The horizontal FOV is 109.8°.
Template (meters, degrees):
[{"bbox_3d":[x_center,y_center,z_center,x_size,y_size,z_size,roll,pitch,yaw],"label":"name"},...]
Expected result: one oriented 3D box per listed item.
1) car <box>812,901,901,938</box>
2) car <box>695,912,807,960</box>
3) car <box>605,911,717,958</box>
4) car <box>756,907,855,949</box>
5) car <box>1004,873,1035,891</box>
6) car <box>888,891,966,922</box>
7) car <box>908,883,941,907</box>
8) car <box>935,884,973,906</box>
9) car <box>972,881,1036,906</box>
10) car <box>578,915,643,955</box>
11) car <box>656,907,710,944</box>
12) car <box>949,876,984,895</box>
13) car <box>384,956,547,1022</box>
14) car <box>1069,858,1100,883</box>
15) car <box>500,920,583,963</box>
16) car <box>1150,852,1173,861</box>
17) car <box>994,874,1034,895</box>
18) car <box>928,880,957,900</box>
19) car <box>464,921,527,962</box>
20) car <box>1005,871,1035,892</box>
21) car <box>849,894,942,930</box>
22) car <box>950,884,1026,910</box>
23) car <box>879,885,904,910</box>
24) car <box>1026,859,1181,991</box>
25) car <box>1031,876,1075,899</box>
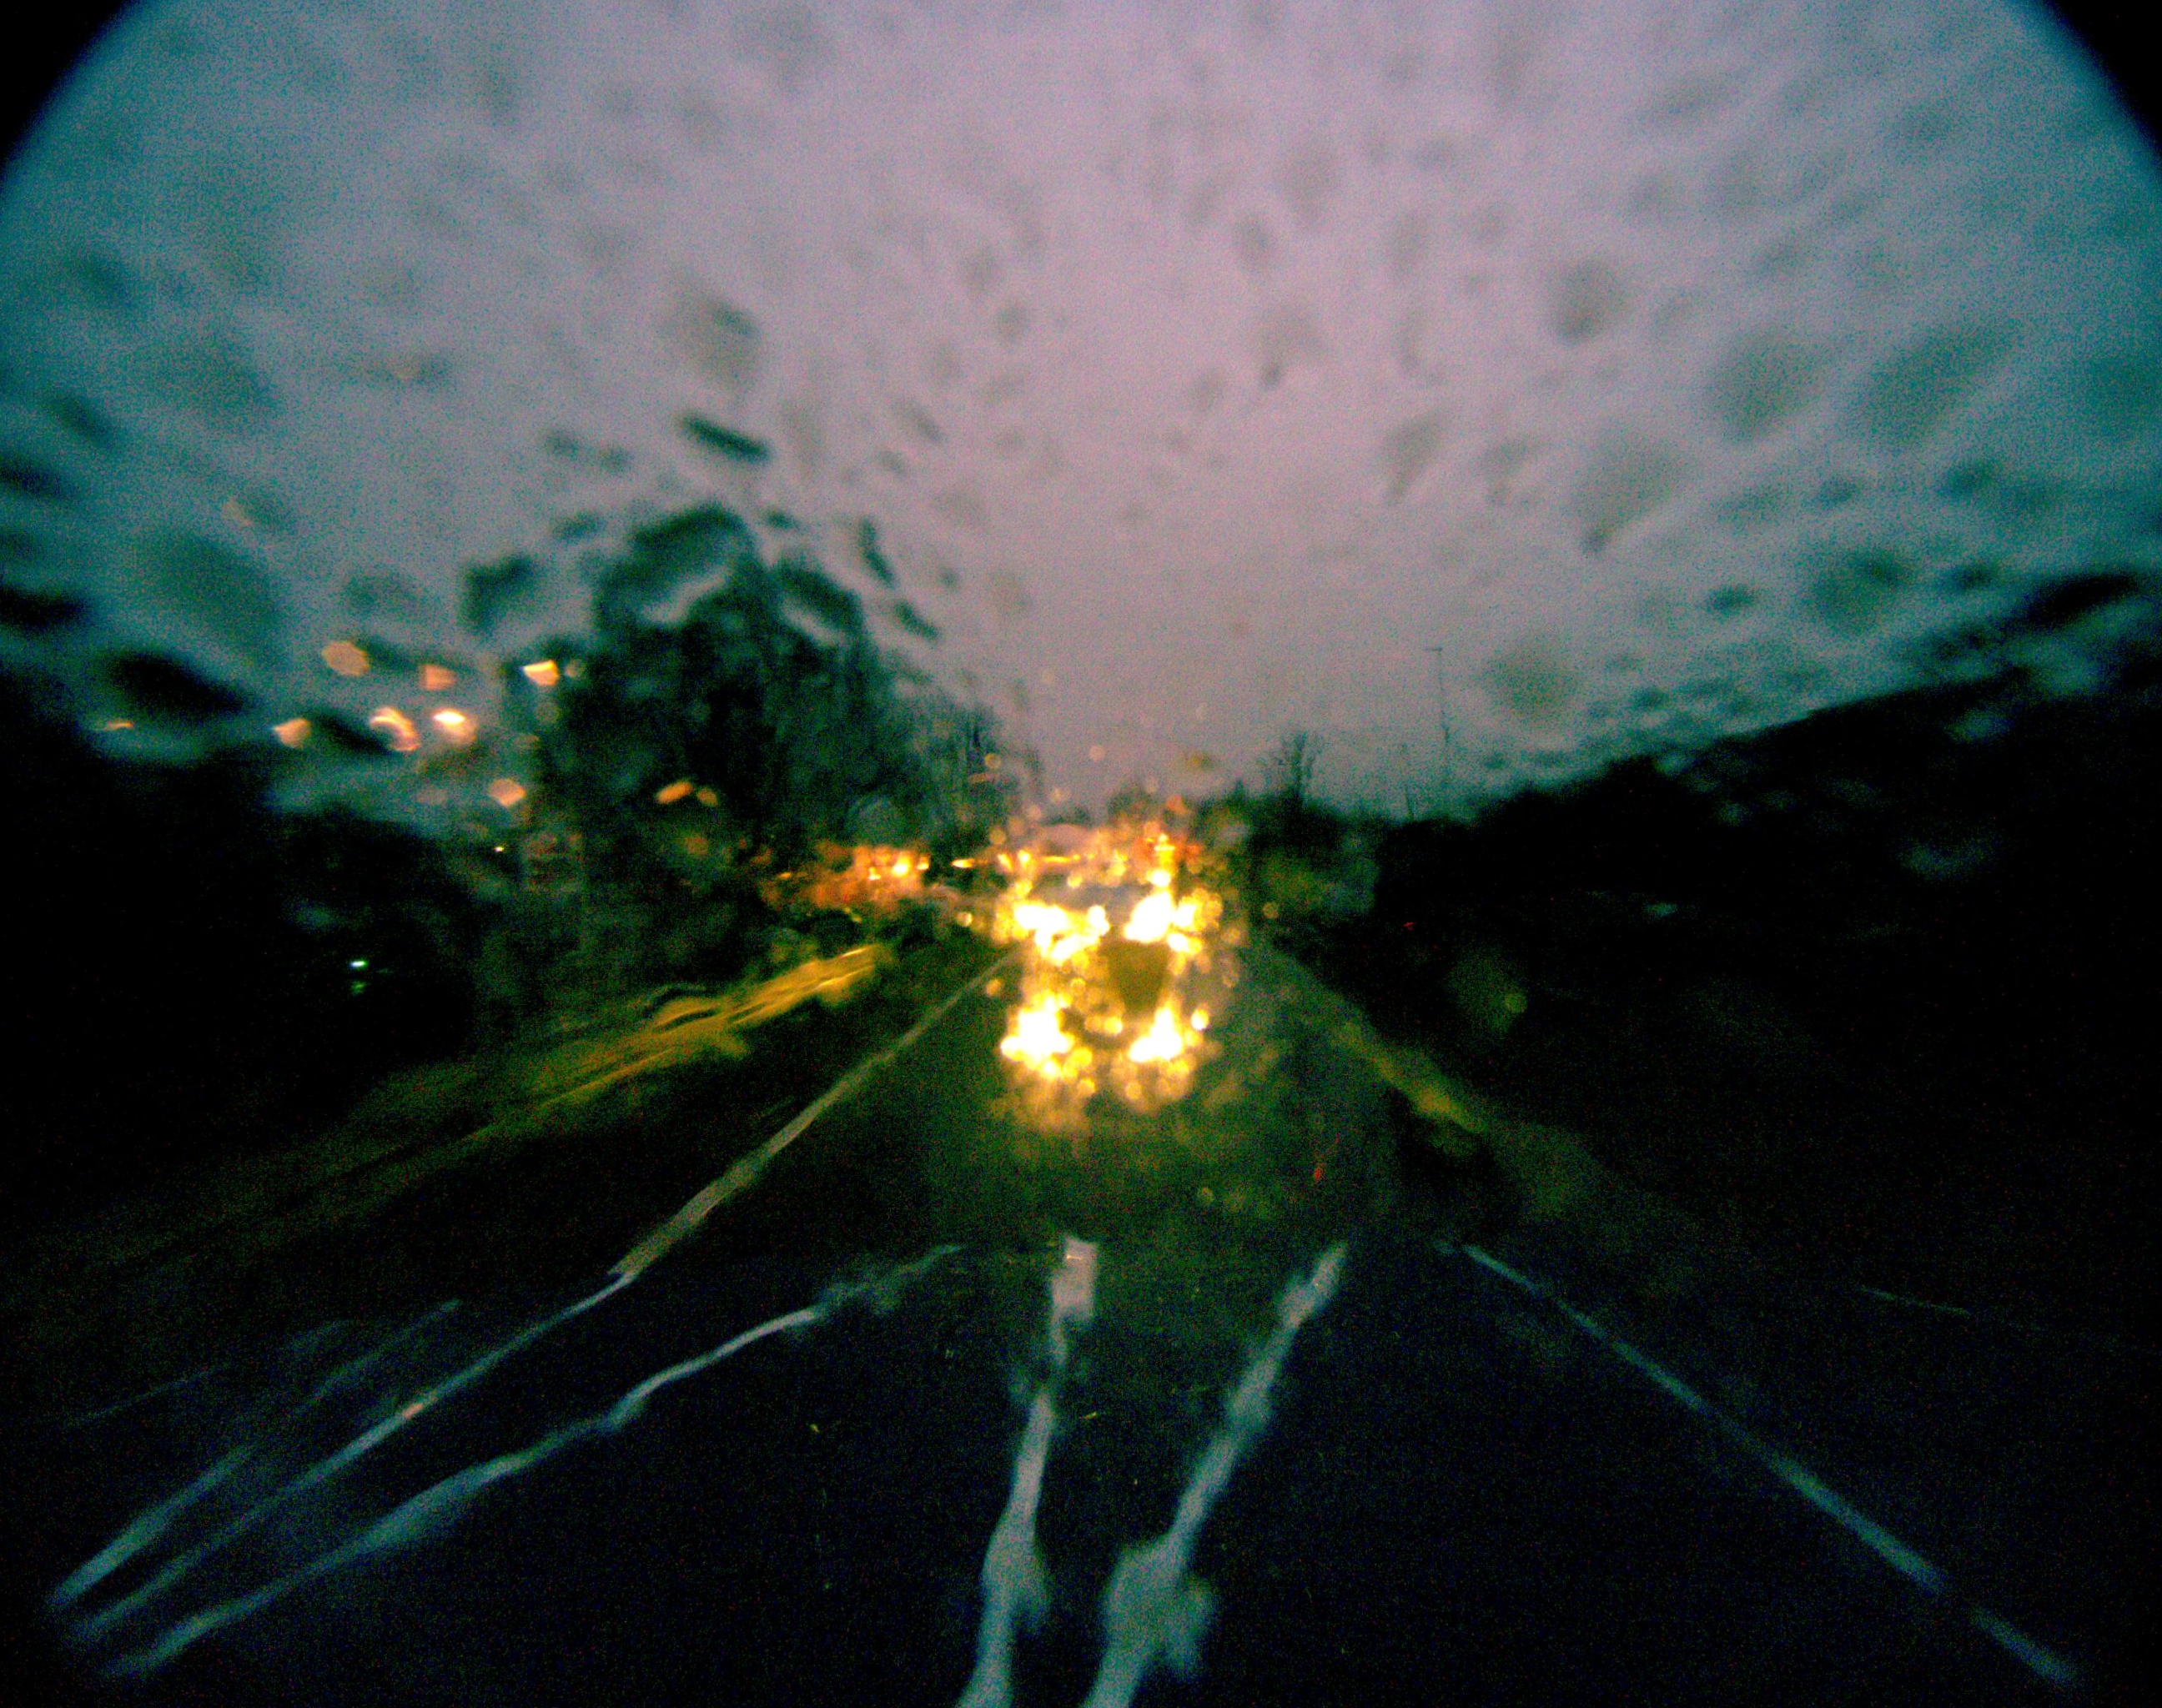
[{"bbox_3d":[-10.921,3.143,36.938,4.003,1.412,1.629,-3,1,-21],"label":"car"},{"bbox_3d":[-13.344,3.292,30.937,4.003,1.431,1.794,-3,1,-21],"label":"car"},{"bbox_3d":[-18.494,3.504,33.678,1.719,1.592,4.042,-2,0,25],"label":"car"},{"bbox_3d":[-12.219,3.261,33.825,4.003,1.412,1.629,-3,1,-21],"label":"car"},{"bbox_3d":[-5.747,2.633,71.077,1.722,1.508,3.251,-4,0,-27],"label":"car"},{"bbox_3d":[-8.877,3.005,43.654,4.182,1.389,1.901,-2,1,-17],"label":"car"},{"bbox_3d":[-11.908,3.037,57.550,1.807,1.526,4.536,-3,0,-19],"label":"car"},{"bbox_3d":[-10.234,3.280,61.128,1.828,1.629,4.462,-3,-1,-24],"label":"car"},{"bbox_3d":[-5.360,2.713,52.644,4.182,1.389,1.849,-2,1,-14],"label":"car"},{"bbox_3d":[-22.131,3.772,35.877,1.570,1.421,3.756,-3,0,-16],"label":"car"},{"bbox_3d":[-20.626,3.669,39.507,1.747,1.416,4.309,-3,0,-18],"label":"car"},{"bbox_3d":[-10.521,2.874,69.641,1.804,1.586,3.971,-3,0,-29],"label":"car"},{"bbox_3d":[-16.994,3.705,21.155,3.212,1.305,1.388,-2,1,-22],"label":"car"},{"bbox_3d":[0.351,1.760,83.429,2.282,2.426,5.233,-2,1,-12],"label":"car"},{"bbox_3d":[-23.614,3.792,33.426,1.569,1.421,3.757,-3,0,-12],"label":"car"},{"bbox_3d":[15.148,0.457,143.162,4.004,1.588,1.809,-2,1,24],"label":"car"},{"bbox_3d":[-5.870,2.659,66.837,3.259,1.526,1.391,-4,0,-13],"label":"car"},{"bbox_3d":[-12.135,3.087,66.243,1.729,1.493,4.019,-3,0,-21],"label":"car"},{"bbox_3d":[-27.140,4.014,35.307,1.571,1.476,3.753,-3,0,-27],"label":"car"},{"bbox_3d":[-6.367,2.829,79.334,1.889,1.946,4.953,-4,0,-18],"label":"car"},{"bbox_3d":[-9.820,3.028,40.248,4.590,1.447,1.928,-3,1,-16],"label":"car"},{"bbox_3d":[-6.099,2.803,49.928,4.706,1.389,1.902,-2,1,-14],"label":"car"},{"bbox_3d":[-13.653,3.101,54.743,1.600,1.576,3.628,-3,0,-14],"label":"car"},{"bbox_3d":[0.374,0.897,11.507,1.809,1.452,4.246,-5,0,3],"label":"car"},{"bbox_3d":[-2.133,2.562,58.511,1.769,1.421,3.817,-2,1,25],"label":"car"}]
